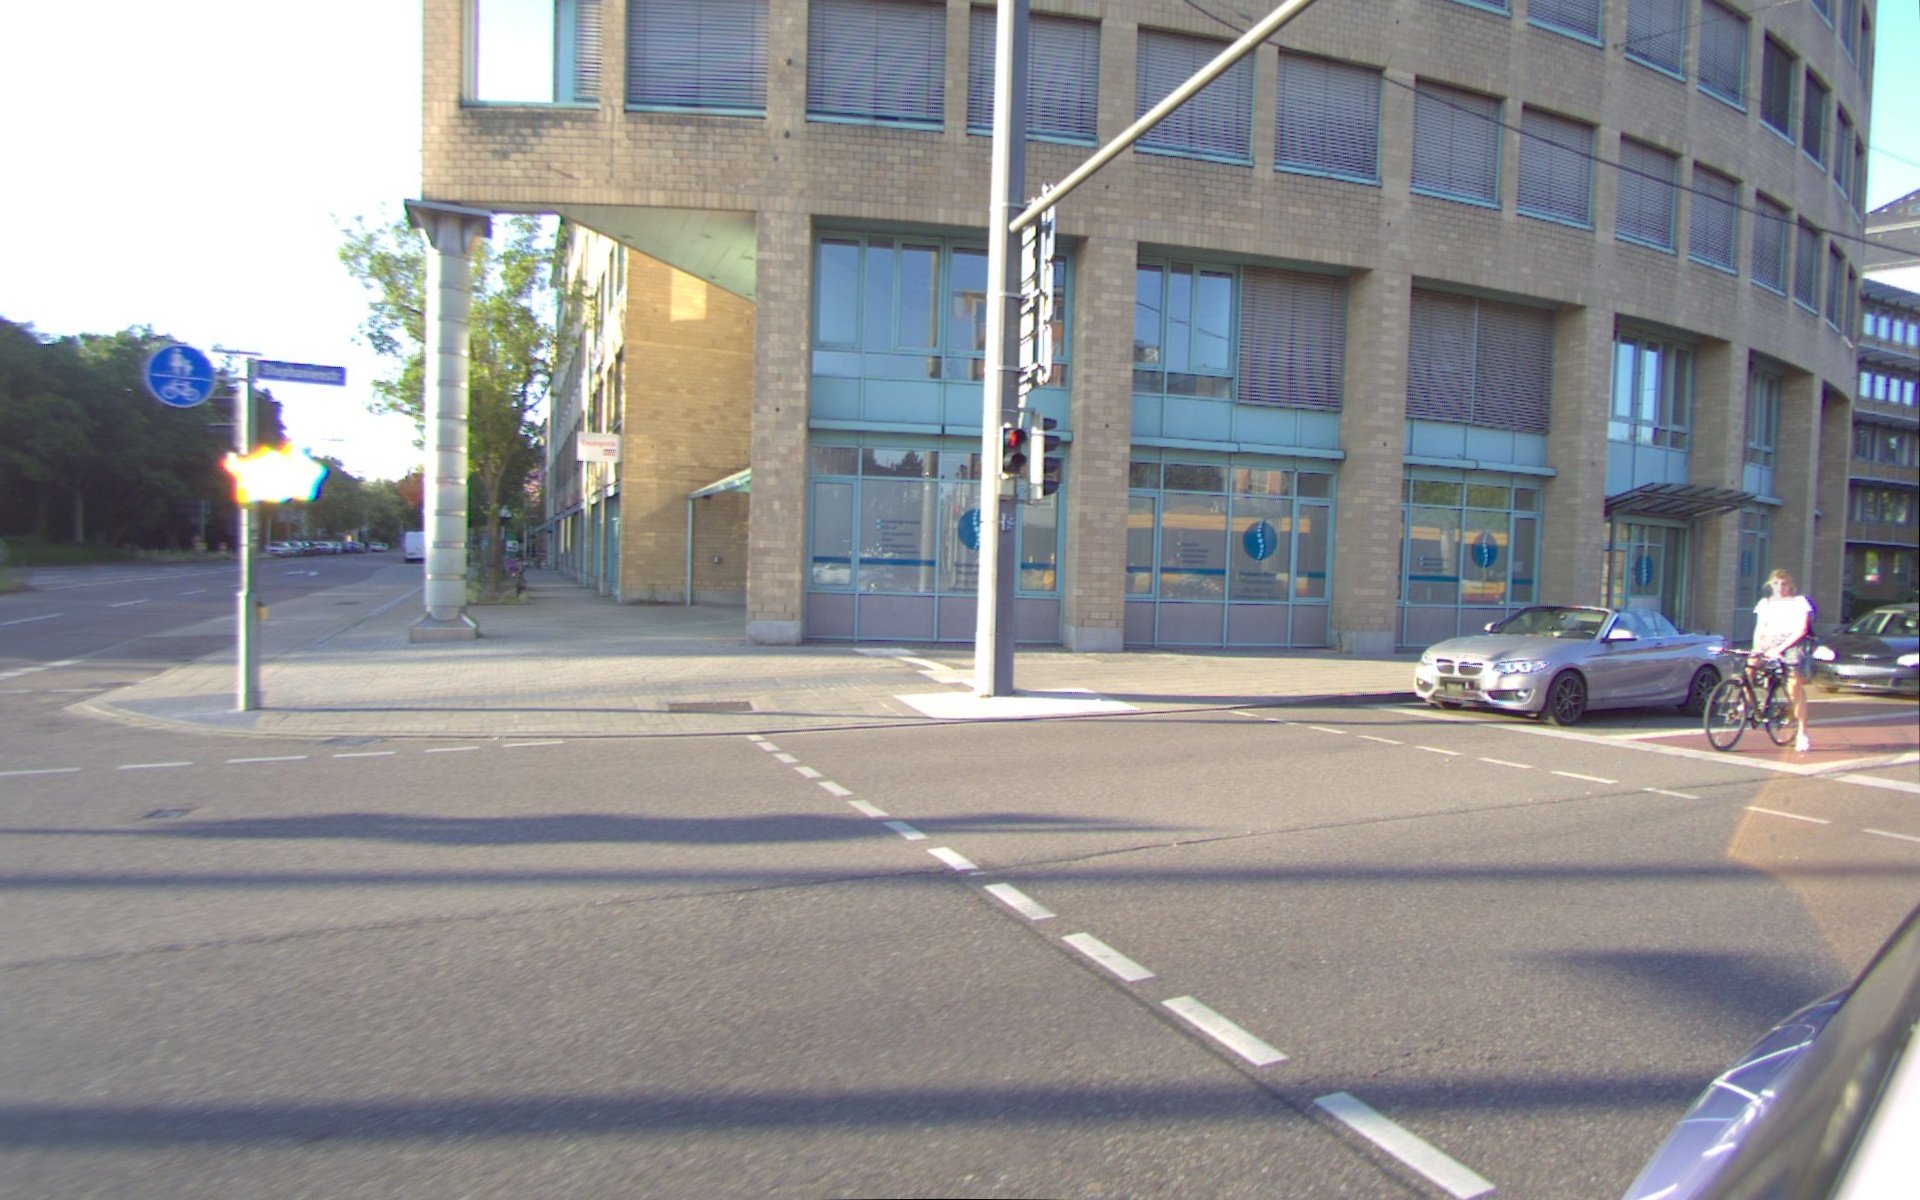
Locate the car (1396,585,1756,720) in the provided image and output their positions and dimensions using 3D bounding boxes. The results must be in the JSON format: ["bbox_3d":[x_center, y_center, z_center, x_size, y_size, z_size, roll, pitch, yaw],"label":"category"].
[{"bbox_3d":[7.664,0.573,12.574,4.139,1.402,1.753,1,2,-25],"label":"car"}]

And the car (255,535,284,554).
[{"bbox_3d":[-62.311,-4.994,91.356,1.869,1.638,4.006,0,2,-30],"label":"car"}]

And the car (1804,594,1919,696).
[{"bbox_3d":[15.316,0.671,15.843,3.918,1.404,1.763,1,2,-27],"label":"car"}]

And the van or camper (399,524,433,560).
[{"bbox_3d":[-45.949,-4.898,85.544,2.110,2.877,4.414,1,2,-23],"label":"van or camper"}]

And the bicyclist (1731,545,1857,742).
[{"bbox_3d":[8.165,0.395,9.916,0.761,1.843,0.637,1,2,-27],"label":"bicyclist"}]

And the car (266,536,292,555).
[{"bbox_3d":[-64.394,-5.133,95.744,1.961,1.678,4.004,0,2,-32],"label":"car"}]

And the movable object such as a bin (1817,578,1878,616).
[{"bbox_3d":[35.900,-0.135,40.929,1.306,1.477,1.430,1,2,-27],"label":"movable object such as a bin"}]

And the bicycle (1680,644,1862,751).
[{"bbox_3d":[7.869,0.910,9.806,1.831,0.884,0.637,1,2,-27],"label":"bicycle"}]

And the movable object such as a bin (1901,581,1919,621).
[{"bbox_3d":[36.611,0.062,38.049,1.306,1.477,1.430,1,2,-29],"label":"movable object such as a bin"}]
